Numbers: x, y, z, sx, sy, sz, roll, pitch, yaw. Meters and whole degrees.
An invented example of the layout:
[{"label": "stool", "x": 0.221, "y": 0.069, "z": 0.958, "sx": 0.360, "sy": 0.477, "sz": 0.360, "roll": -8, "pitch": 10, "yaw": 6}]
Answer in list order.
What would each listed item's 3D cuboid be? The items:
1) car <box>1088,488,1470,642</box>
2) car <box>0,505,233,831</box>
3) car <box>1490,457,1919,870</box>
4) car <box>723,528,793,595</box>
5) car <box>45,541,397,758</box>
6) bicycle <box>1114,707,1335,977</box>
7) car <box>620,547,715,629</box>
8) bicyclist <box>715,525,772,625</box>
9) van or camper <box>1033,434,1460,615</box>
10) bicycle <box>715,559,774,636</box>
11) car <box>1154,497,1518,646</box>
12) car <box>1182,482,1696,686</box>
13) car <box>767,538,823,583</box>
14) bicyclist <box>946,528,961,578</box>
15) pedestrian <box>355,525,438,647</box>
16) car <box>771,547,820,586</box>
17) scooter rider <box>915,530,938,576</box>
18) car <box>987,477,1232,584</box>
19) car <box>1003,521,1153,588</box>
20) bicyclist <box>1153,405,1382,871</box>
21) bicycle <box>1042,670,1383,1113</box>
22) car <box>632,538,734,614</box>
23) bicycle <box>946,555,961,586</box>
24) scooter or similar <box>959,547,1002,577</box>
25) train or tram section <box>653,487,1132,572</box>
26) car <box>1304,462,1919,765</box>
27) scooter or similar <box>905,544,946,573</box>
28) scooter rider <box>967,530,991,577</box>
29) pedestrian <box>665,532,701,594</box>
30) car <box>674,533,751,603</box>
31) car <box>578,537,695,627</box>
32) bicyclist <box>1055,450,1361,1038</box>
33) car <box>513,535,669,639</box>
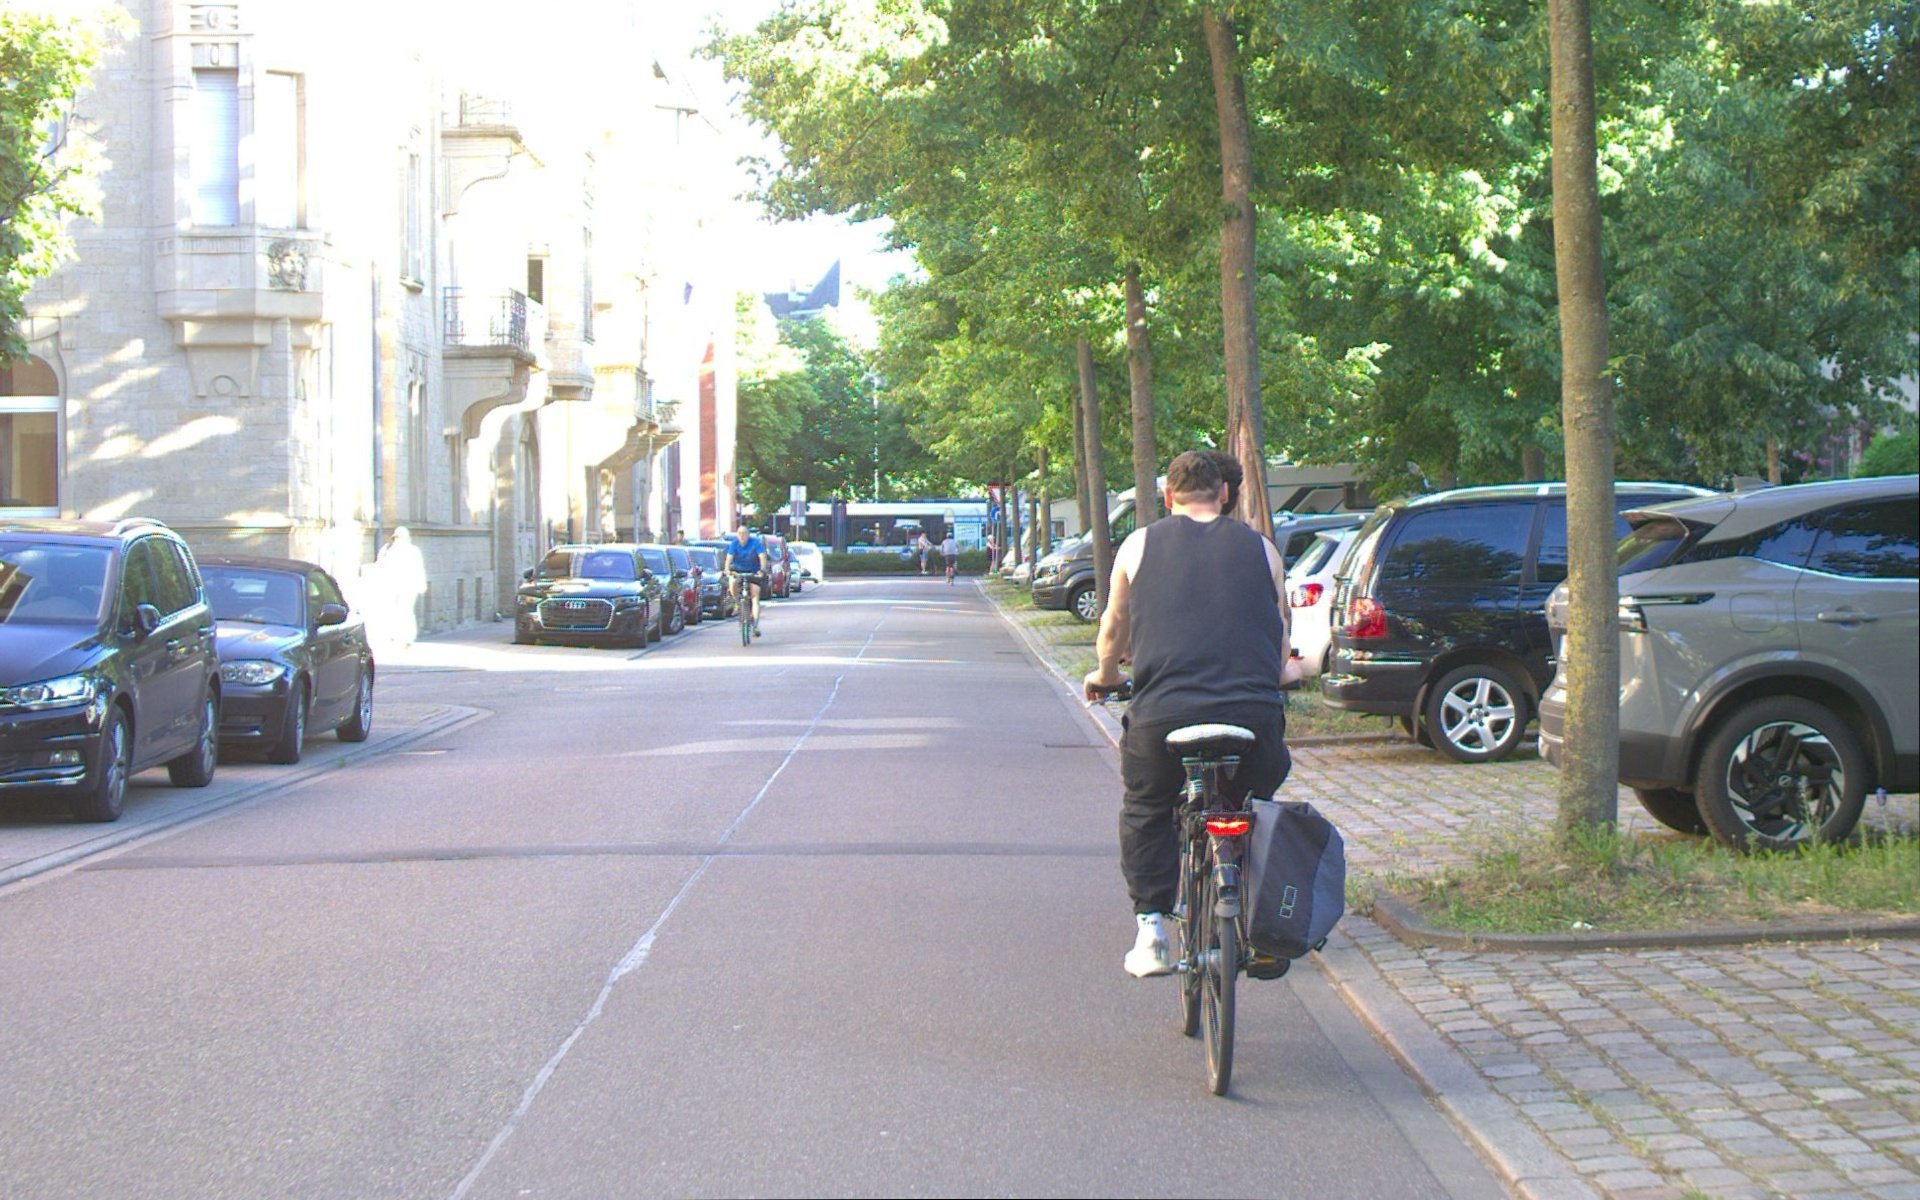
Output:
[{"label": "car", "x": 3.980, "y": -0.451, "z": 43.485, "sx": 4.619, "sy": 1.704, "sz": 1.833, "roll": -2, "pitch": 1, "yaw": 1}, {"label": "car", "x": -5.425, "y": 0.322, "z": 19.875, "sx": 1.669, "sy": 1.675, "sz": 4.351, "roll": 0, "pitch": 1, "yaw": -2}, {"label": "car", "x": 4.791, "y": 0.151, "z": 15.262, "sx": 4.475, "sy": 1.628, "sz": 1.875, "roll": -4, "pitch": 1, "yaw": -1}, {"label": "car", "x": -5.832, "y": -1.127, "z": 99.606, "sx": 1.689, "sy": 1.819, "sz": 4.273, "roll": 2, "pitch": 1, "yaw": 0}, {"label": "car", "x": -5.335, "y": 0.311, "z": 25.338, "sx": 1.635, "sy": 1.406, "sz": 4.333, "roll": 2, "pitch": 1, "yaw": 0}, {"label": "bicycle", "x": 0.930, "y": 0.840, "z": 12.448, "sx": 0.633, "sy": 0.796, "sz": 1.833, "roll": -1, "pitch": 1, "yaw": 0}, {"label": "car", "x": -5.495, "y": -0.248, "z": 64.805, "sx": 1.628, "sy": 1.448, "sz": 3.838, "roll": 1, "pitch": 1, "yaw": -3}, {"label": "bicyclist", "x": -3.183, "y": -0.370, "z": 50.670, "sx": 0.759, "sy": 1.449, "sz": 0.949, "roll": -1, "pitch": 0, "yaw": -1}, {"label": "van or camper", "x": 4.930, "y": -1.315, "z": 60.043, "sx": 7.147, "sy": 2.638, "sz": 2.464, "roll": -4, "pitch": 1, "yaw": 2}, {"label": "bicycle", "x": -3.174, "y": -0.040, "z": 50.750, "sx": 0.757, "sy": 1.104, "sz": 1.907, "roll": -1, "pitch": 0, "yaw": -1}, {"label": "car", "x": 4.416, "y": -0.353, "z": 40.764, "sx": 4.068, "sy": 1.471, "sz": 1.694, "roll": -4, "pitch": 2, "yaw": 1}, {"label": "car", "x": 4.588, "y": -0.172, "z": 33.308, "sx": 4.538, "sy": 1.628, "sz": 1.813, "roll": -4, "pitch": 1, "yaw": -6}, {"label": "car", "x": -5.301, "y": -1.293, "z": 110.766, "sx": 1.583, "sy": 1.339, "sz": 4.131, "roll": 2, "pitch": 1, "yaw": 0}, {"label": "bicyclist", "x": -0.230, "y": -1.640, "z": 119.715, "sx": 0.486, "sy": 1.738, "sz": 0.656, "roll": 1, "pitch": 0, "yaw": 0}, {"label": "pedestrian", "x": -7.533, "y": -0.200, "z": 45.987, "sx": 0.888, "sy": 1.571, "sz": 1.053, "roll": -2, "pitch": 2, "yaw": 0}, {"label": "car", "x": -6.134, "y": -1.258, "z": 128.340, "sx": 1.583, "sy": 1.371, "sz": 4.131, "roll": 2, "pitch": 1, "yaw": 0}, {"label": "scooter rider", "x": -1.347, "y": -1.882, "z": 138.619, "sx": 0.871, "sy": 1.835, "sz": 0.671, "roll": 1, "pitch": 0, "yaw": -5}, {"label": "car", "x": 4.524, "y": -2.111, "z": 104.856, "sx": 7.146, "sy": 2.968, "sz": 2.465, "roll": -2, "pitch": 1, "yaw": -3}, {"label": "car", "x": 3.333, "y": -1.289, "z": 97.555, "sx": 4.082, "sy": 1.644, "sz": 1.641, "roll": -4, "pitch": 1, "yaw": -2}, {"label": "bicyclist", "x": 1.102, "y": 0.125, "z": 12.516, "sx": 0.689, "sy": 1.621, "sz": 0.998, "roll": 1, "pitch": 1, "yaw": -2}, {"label": "bicycle", "x": 0.659, "y": 0.755, "z": 9.630, "sx": 0.737, "sy": 1.050, "sz": 1.956, "roll": 1, "pitch": 0, "yaw": -1}, {"label": "car", "x": -5.660, "y": -0.517, "z": 70.611, "sx": 1.675, "sy": 1.425, "sz": 4.550, "roll": 2, "pitch": 1, "yaw": 0}, {"label": "bicycle", "x": -0.223, "y": -1.035, "z": 119.739, "sx": 0.498, "sy": 1.001, "sz": 1.474, "roll": 0, "pitch": 2, "yaw": 0}, {"label": "scooter or similar", "x": 0.808, "y": -1.491, "z": 135.646, "sx": 1.598, "sy": 1.143, "sz": 0.678, "roll": 1, "pitch": 0, "yaw": -5}, {"label": "train or tram section", "x": -3.173, "y": -3.433, "z": 170.715, "sx": 23.799, "sy": 3.696, "sz": 4.287, "roll": 1, "pitch": 0, "yaw": -22}, {"label": "car", "x": 4.658, "y": 0.039, "z": 22.450, "sx": 4.581, "sy": 1.671, "sz": 1.907, "roll": -4, "pitch": 1, "yaw": 2}, {"label": "scooter or similar", "x": -1.403, "y": -1.659, "z": 138.619, "sx": 1.598, "sy": 1.143, "sz": 0.678, "roll": 1, "pitch": 0, "yaw": -5}, {"label": "scooter rider", "x": 0.742, "y": -1.832, "z": 135.644, "sx": 0.871, "sy": 1.835, "sz": 0.671, "roll": 1, "pitch": 0, "yaw": -5}, {"label": "pedestrian", "x": -7.855, "y": -1.040, "z": 97.566, "sx": 0.938, "sy": 1.736, "sz": 0.735, "roll": 1, "pitch": 0, "yaw": 1}, {"label": "car", "x": -5.707, "y": -0.749, "z": 79.605, "sx": 1.595, "sy": 1.484, "sz": 2.737, "roll": 3, "pitch": 1, "yaw": -2}, {"label": "car", "x": -5.391, "y": -0.300, "z": 57.714, "sx": 1.696, "sy": 1.448, "sz": 4.028, "roll": 0, "pitch": 0, "yaw": -2}, {"label": "bicyclist", "x": 0.670, "y": 0.380, "z": 9.554, "sx": 0.730, "sy": 1.542, "sz": 0.884, "roll": 1, "pitch": 0, "yaw": -1}, {"label": "car", "x": -5.446, "y": -0.211, "z": 51.258, "sx": 1.811, "sy": 1.422, "sz": 4.898, "roll": 2, "pitch": 1, "yaw": -1}]
